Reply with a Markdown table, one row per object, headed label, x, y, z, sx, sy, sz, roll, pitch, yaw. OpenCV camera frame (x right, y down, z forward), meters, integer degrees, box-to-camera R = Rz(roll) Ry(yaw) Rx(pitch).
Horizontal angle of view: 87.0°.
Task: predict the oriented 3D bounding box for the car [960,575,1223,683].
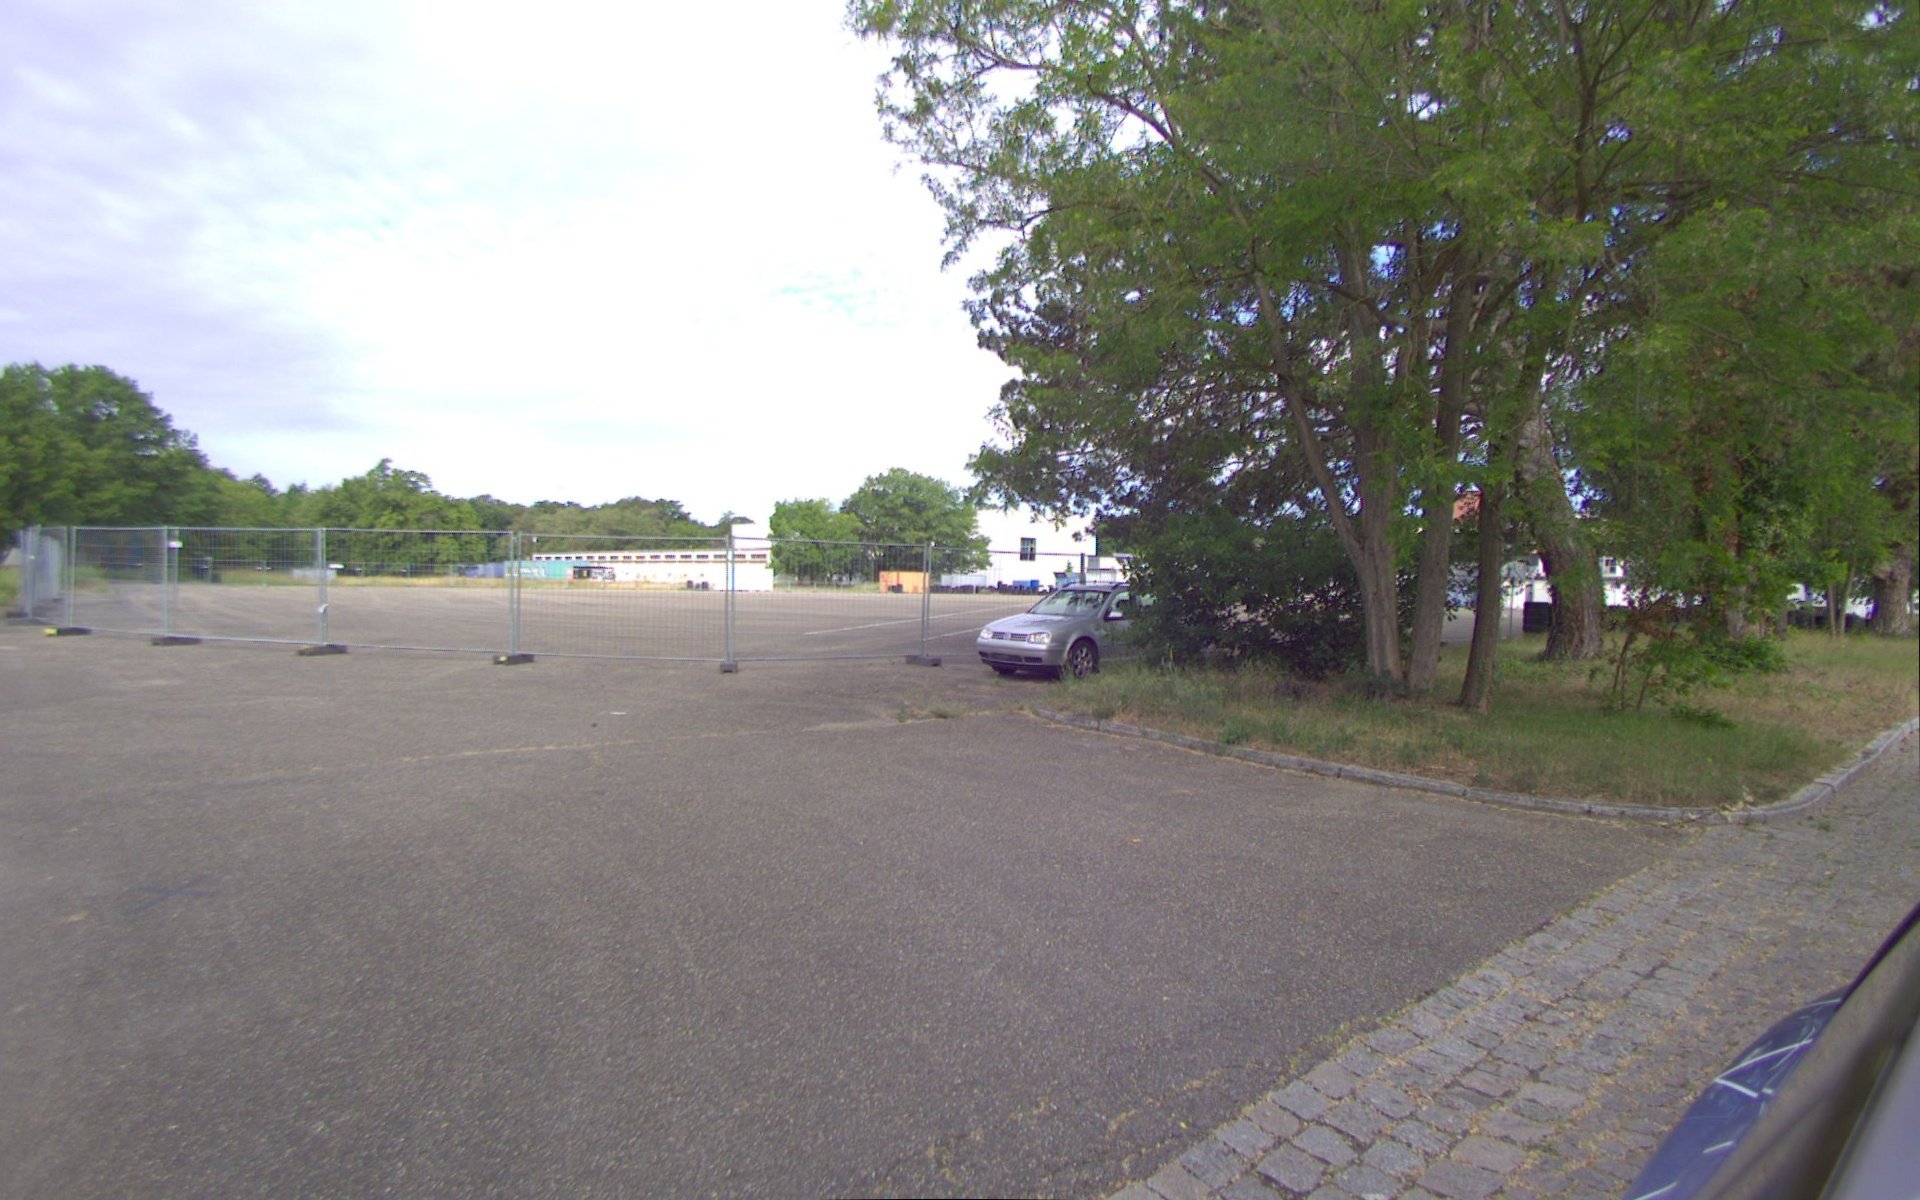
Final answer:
| label | x | y | z | sx | sy | sz | roll | pitch | yaw |
| --- | --- | --- | --- | --- | --- | --- | --- | --- | --- |
| car | 2.184 | 0.394 | 16.084 | 4.251 | 1.466 | 1.758 | 0 | 1 | -41 |
